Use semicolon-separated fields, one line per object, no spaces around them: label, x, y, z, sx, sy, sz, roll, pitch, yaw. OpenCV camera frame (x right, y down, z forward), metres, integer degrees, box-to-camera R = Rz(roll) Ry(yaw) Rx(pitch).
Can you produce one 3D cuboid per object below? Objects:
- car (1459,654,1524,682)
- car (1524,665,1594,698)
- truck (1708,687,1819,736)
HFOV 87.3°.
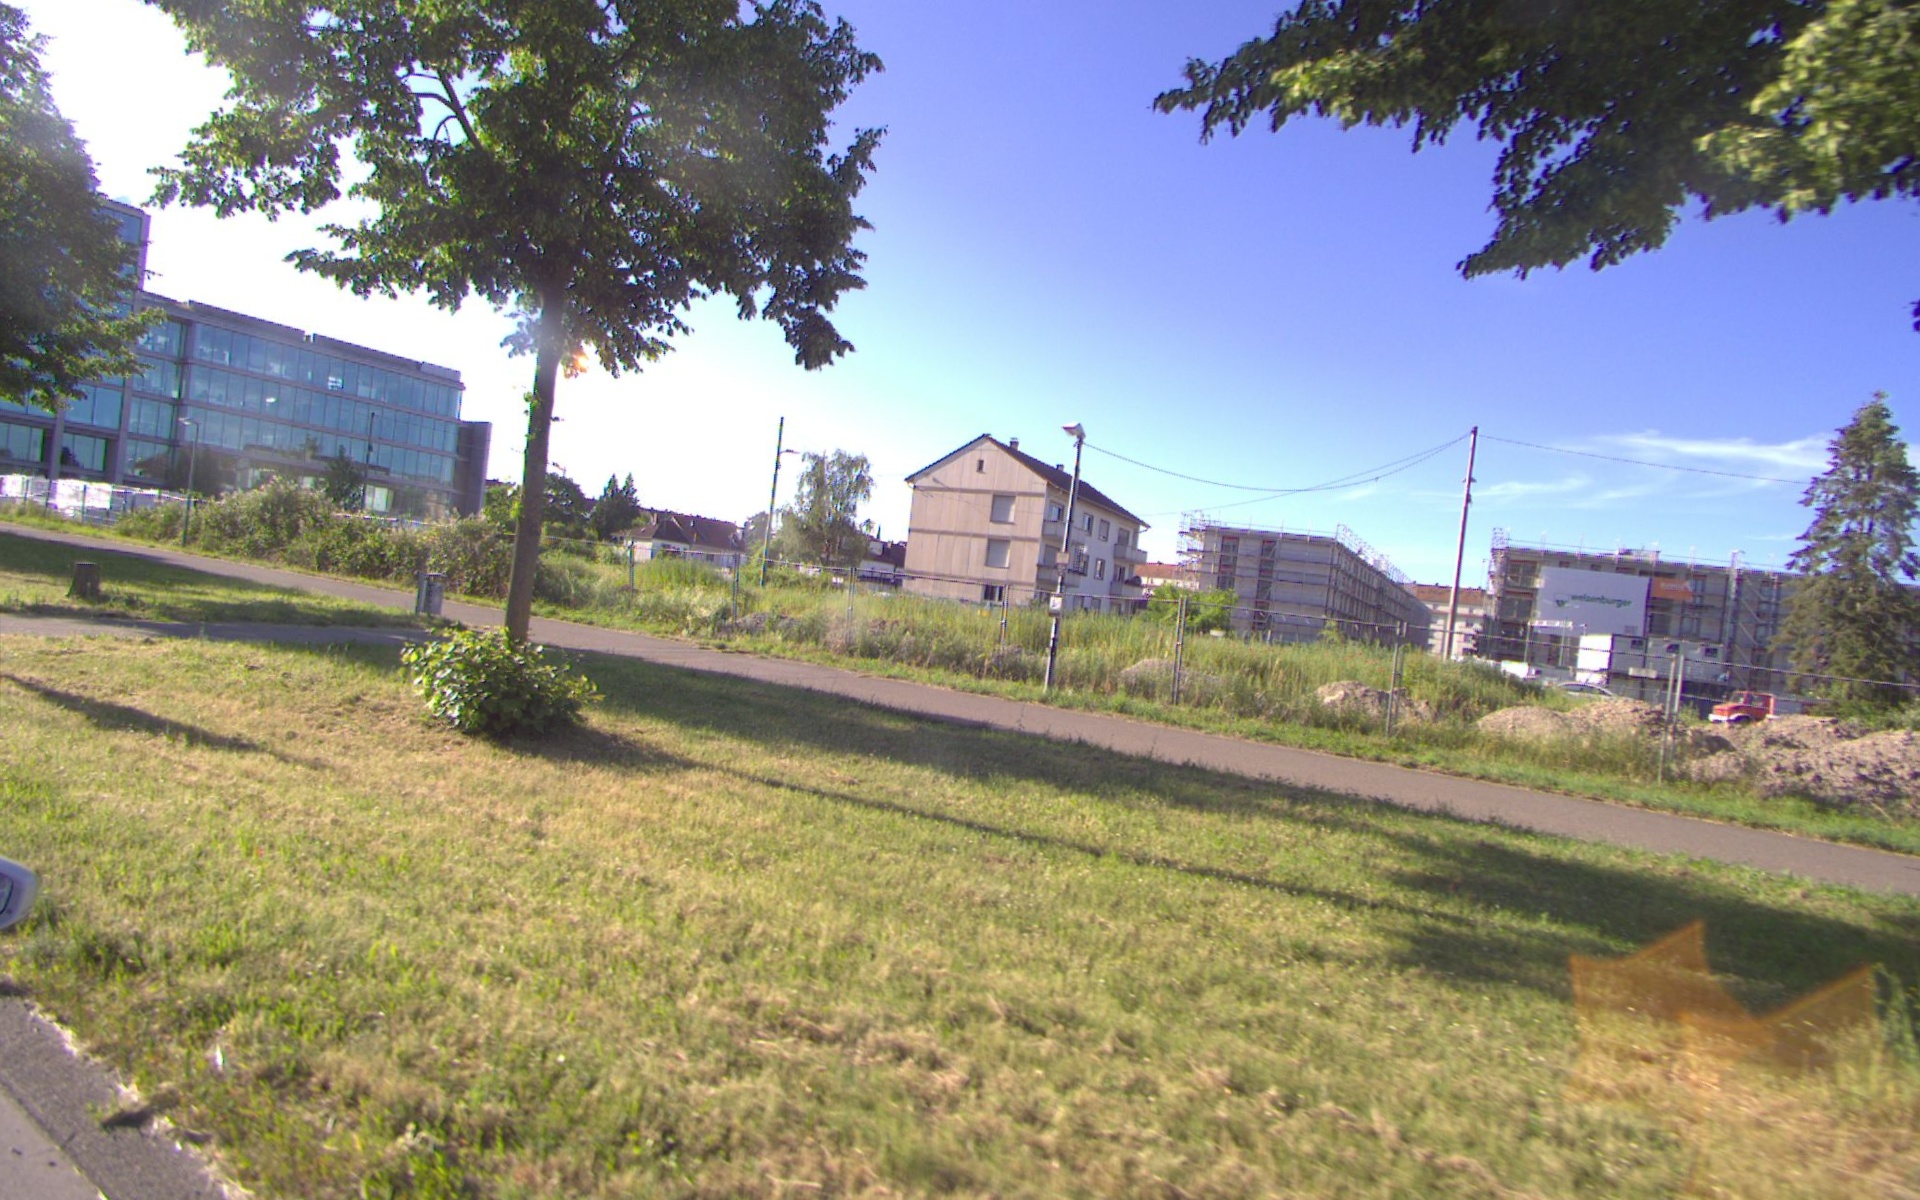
car;39.686;5.051;75.199;3.924;1.637;1.834;5;-1;16
car;38.304;5.209;64.424;3.588;1.637;1.623;5;-1;26
truck;45.765;6.308;57.413;4.351;2.038;2.000;7;0;21
